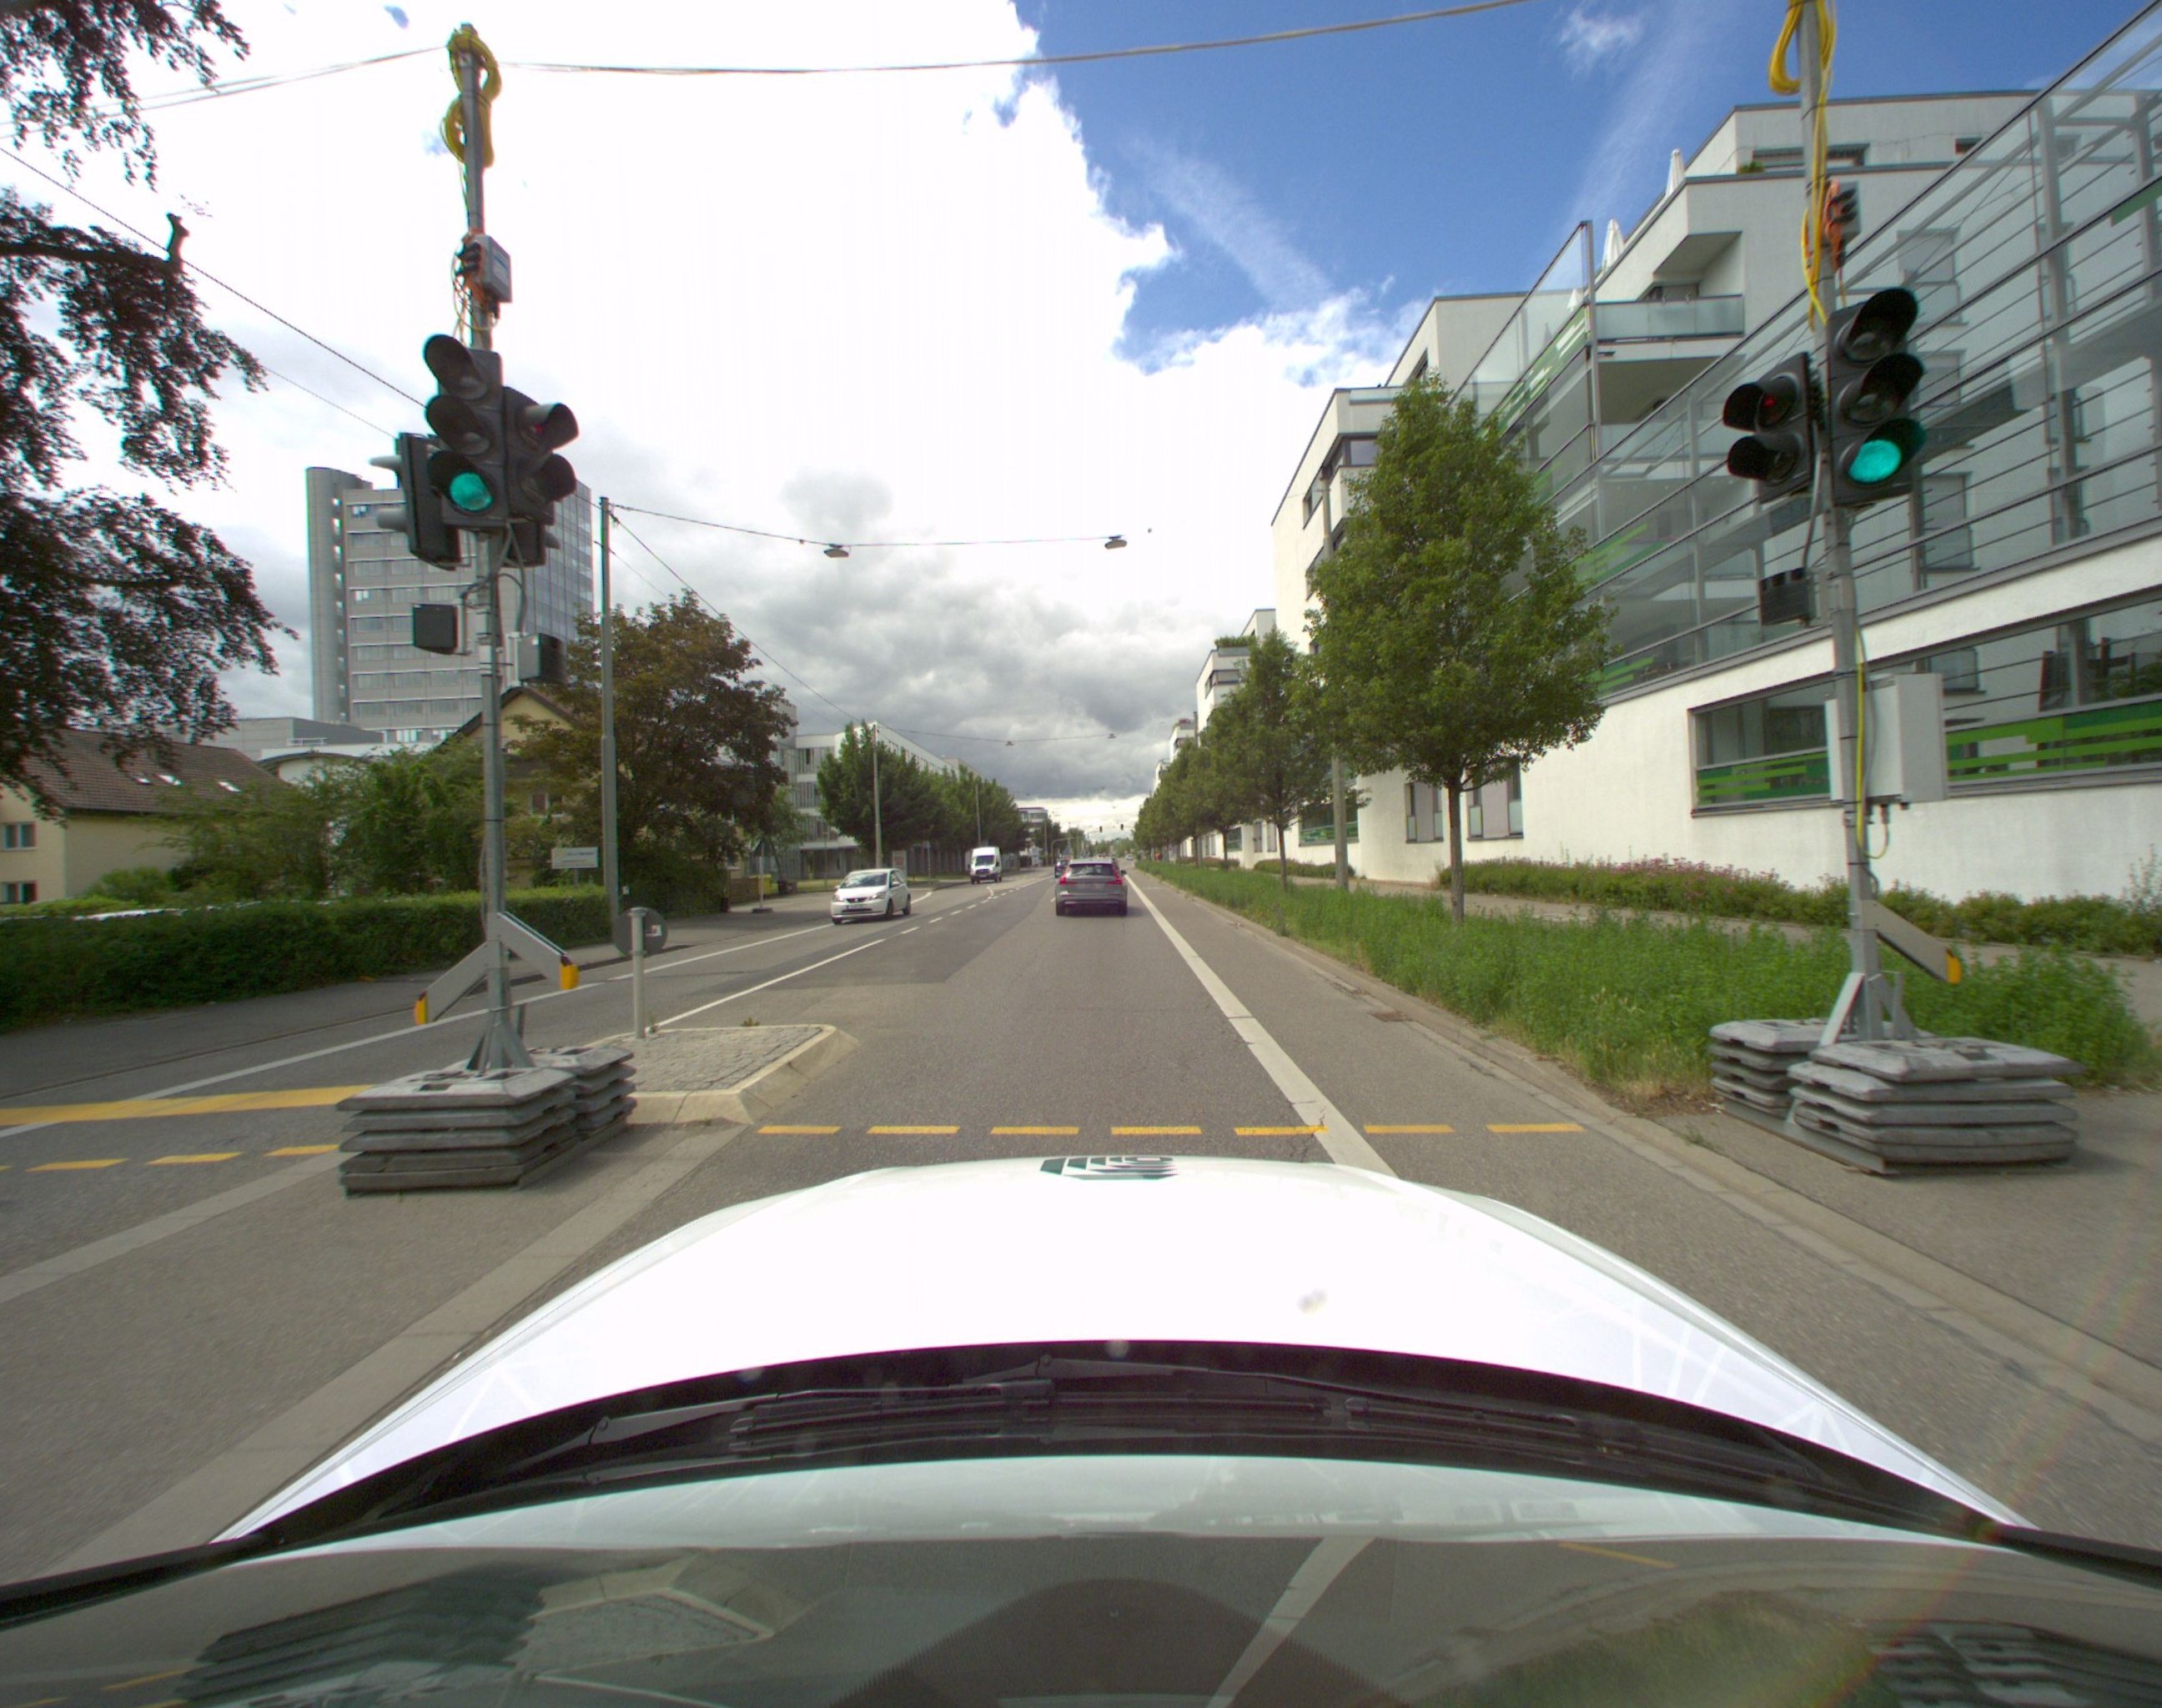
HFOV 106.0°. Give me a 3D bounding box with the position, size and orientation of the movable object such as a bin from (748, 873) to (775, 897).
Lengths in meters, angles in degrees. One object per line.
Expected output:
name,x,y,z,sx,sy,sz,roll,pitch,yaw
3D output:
movable object such as a bin,-19.335,1.875,49.359,1.411,1.330,1.414,-3,0,-20

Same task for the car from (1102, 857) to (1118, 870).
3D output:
car,3.357,1.092,95.241,1.838,1.513,4.001,-2,0,1

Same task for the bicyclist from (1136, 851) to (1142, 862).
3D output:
bicyclist,11.550,0.470,161.647,1.010,2.013,1.131,-4,0,1

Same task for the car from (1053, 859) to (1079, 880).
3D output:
car,-1.178,1.188,64.157,1.848,1.513,4.001,-2,0,1

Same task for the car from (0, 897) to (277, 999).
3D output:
car,-18.091,1.706,15.719,1.656,1.515,3.435,-2,0,0

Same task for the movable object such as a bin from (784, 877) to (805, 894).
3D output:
movable object such as a bin,-17.208,1.890,48.946,0.742,0.941,1.001,-4,0,8

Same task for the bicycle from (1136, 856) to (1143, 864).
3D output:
bicycle,11.609,1.207,161.560,1.063,1.453,2.978,-4,0,1

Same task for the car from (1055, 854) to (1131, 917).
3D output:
car,0.258,0.798,22.113,1.849,1.513,3.998,-1,0,-1

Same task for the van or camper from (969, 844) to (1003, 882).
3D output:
van or camper,-7.256,0.674,62.670,1.989,2.734,6.047,-3,0,-2

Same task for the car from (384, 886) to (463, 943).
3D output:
car,-20.312,1.821,25.268,1.674,1.515,3.398,-2,0,-36

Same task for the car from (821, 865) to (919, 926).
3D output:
car,-6.091,1.141,23.960,1.655,1.515,4.001,-2,0,2

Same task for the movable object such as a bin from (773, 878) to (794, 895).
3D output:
movable object such as a bin,-17.953,1.938,49.210,0.742,0.941,1.001,-4,0,8
